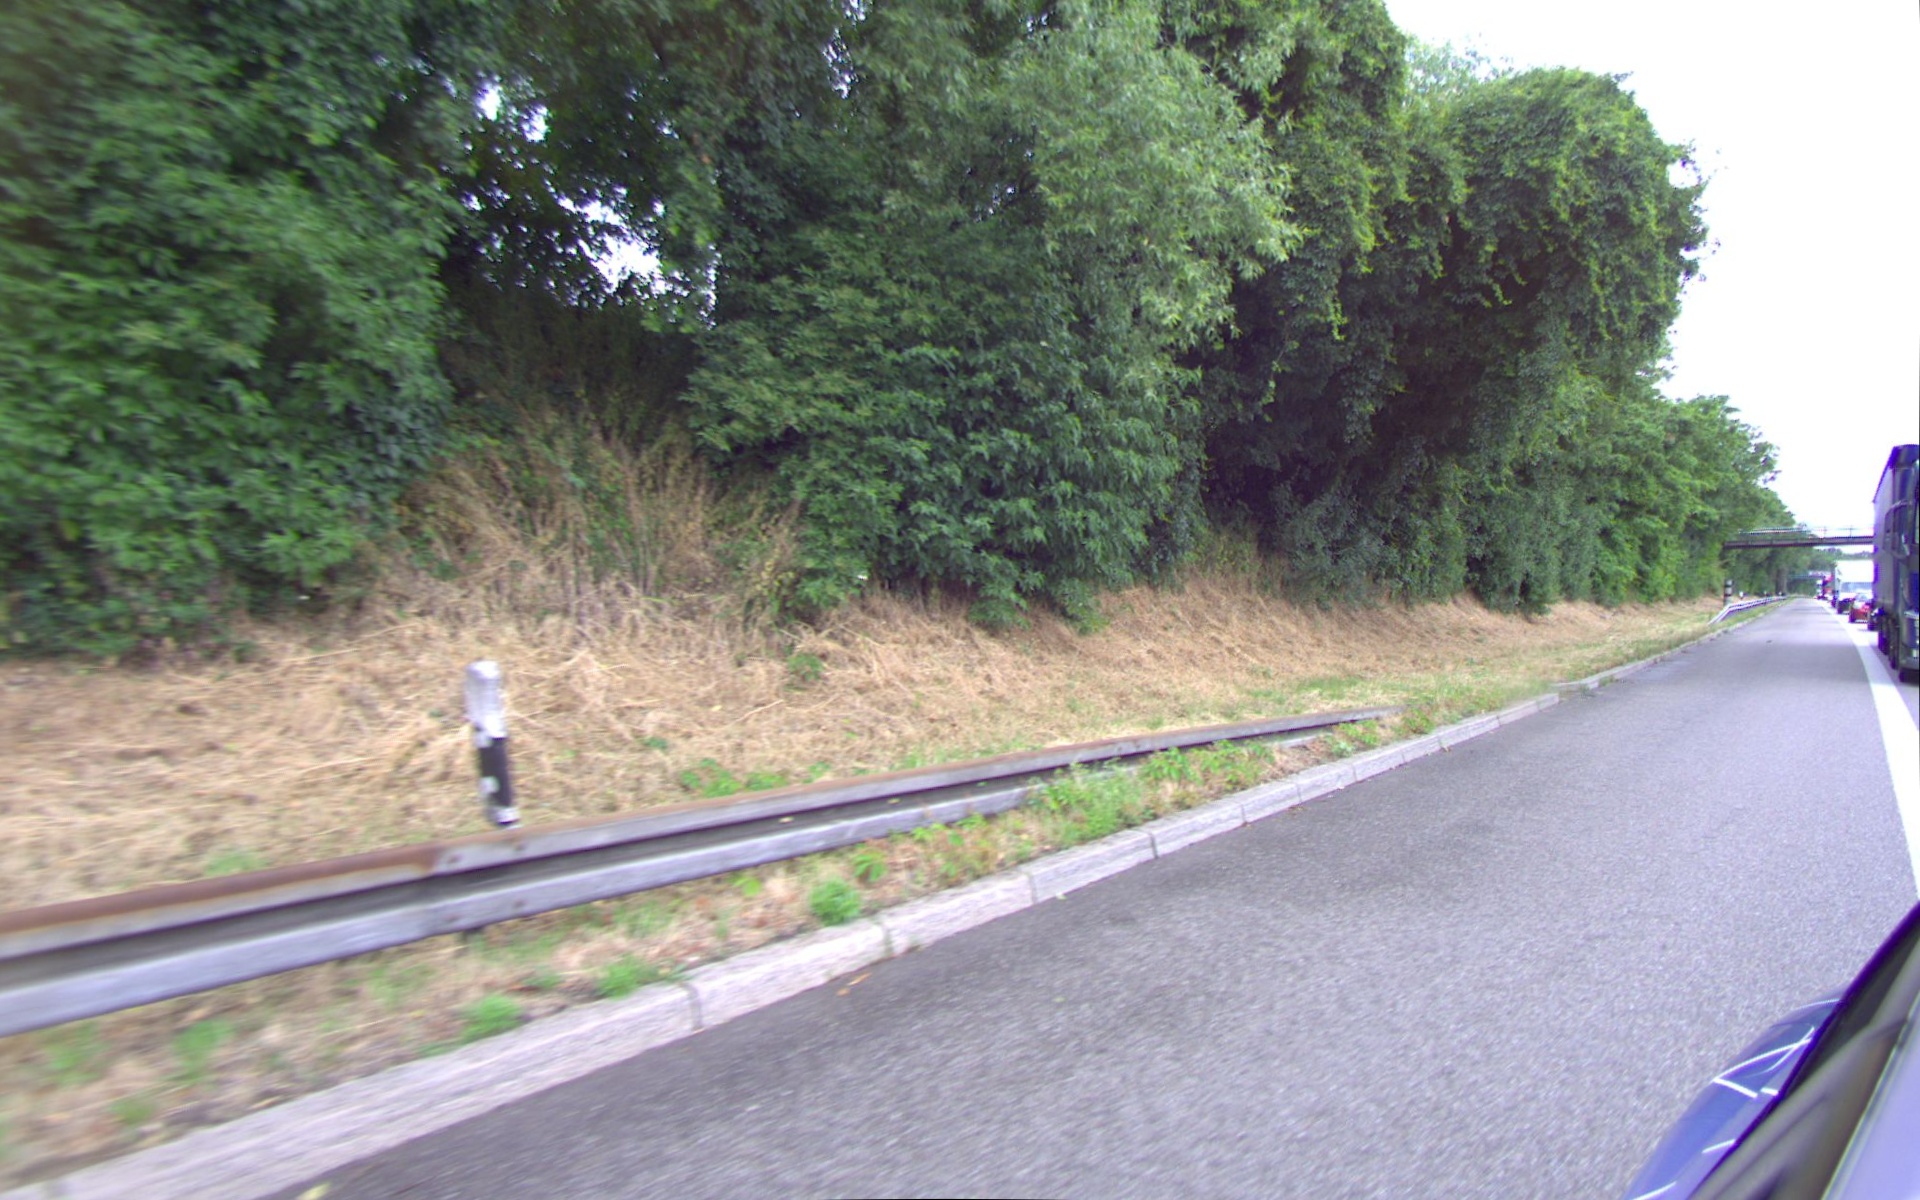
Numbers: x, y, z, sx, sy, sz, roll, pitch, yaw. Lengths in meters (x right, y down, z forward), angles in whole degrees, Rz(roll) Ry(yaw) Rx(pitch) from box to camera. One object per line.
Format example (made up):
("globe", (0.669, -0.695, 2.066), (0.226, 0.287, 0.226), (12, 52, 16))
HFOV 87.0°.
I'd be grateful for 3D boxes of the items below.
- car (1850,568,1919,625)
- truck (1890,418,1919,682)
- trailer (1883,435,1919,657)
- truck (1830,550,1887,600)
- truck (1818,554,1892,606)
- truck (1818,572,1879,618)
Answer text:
("car", (35.127, -0.166, 38.489), (1.744, 2.038, 3.943), (2, 2, 39))
("truck", (17.982, -0.773, 17.299), (2.952, 4.019, 7.357), (1, 1, 42))
("trailer", (22.714, -1.087, 22.683), (2.836, 4.087, 12.890), (0, 1, 42))
("truck", (78.279, -2.186, 88.322), (3.352, 4.115, 10.038), (0, 1, 40))
("truck", (58.494, -1.311, 66.298), (3.352, 3.155, 7.137), (0, 1, 39))
("truck", (42.648, -0.292, 48.532), (1.890, 2.038, 5.994), (3, 2, 44))
